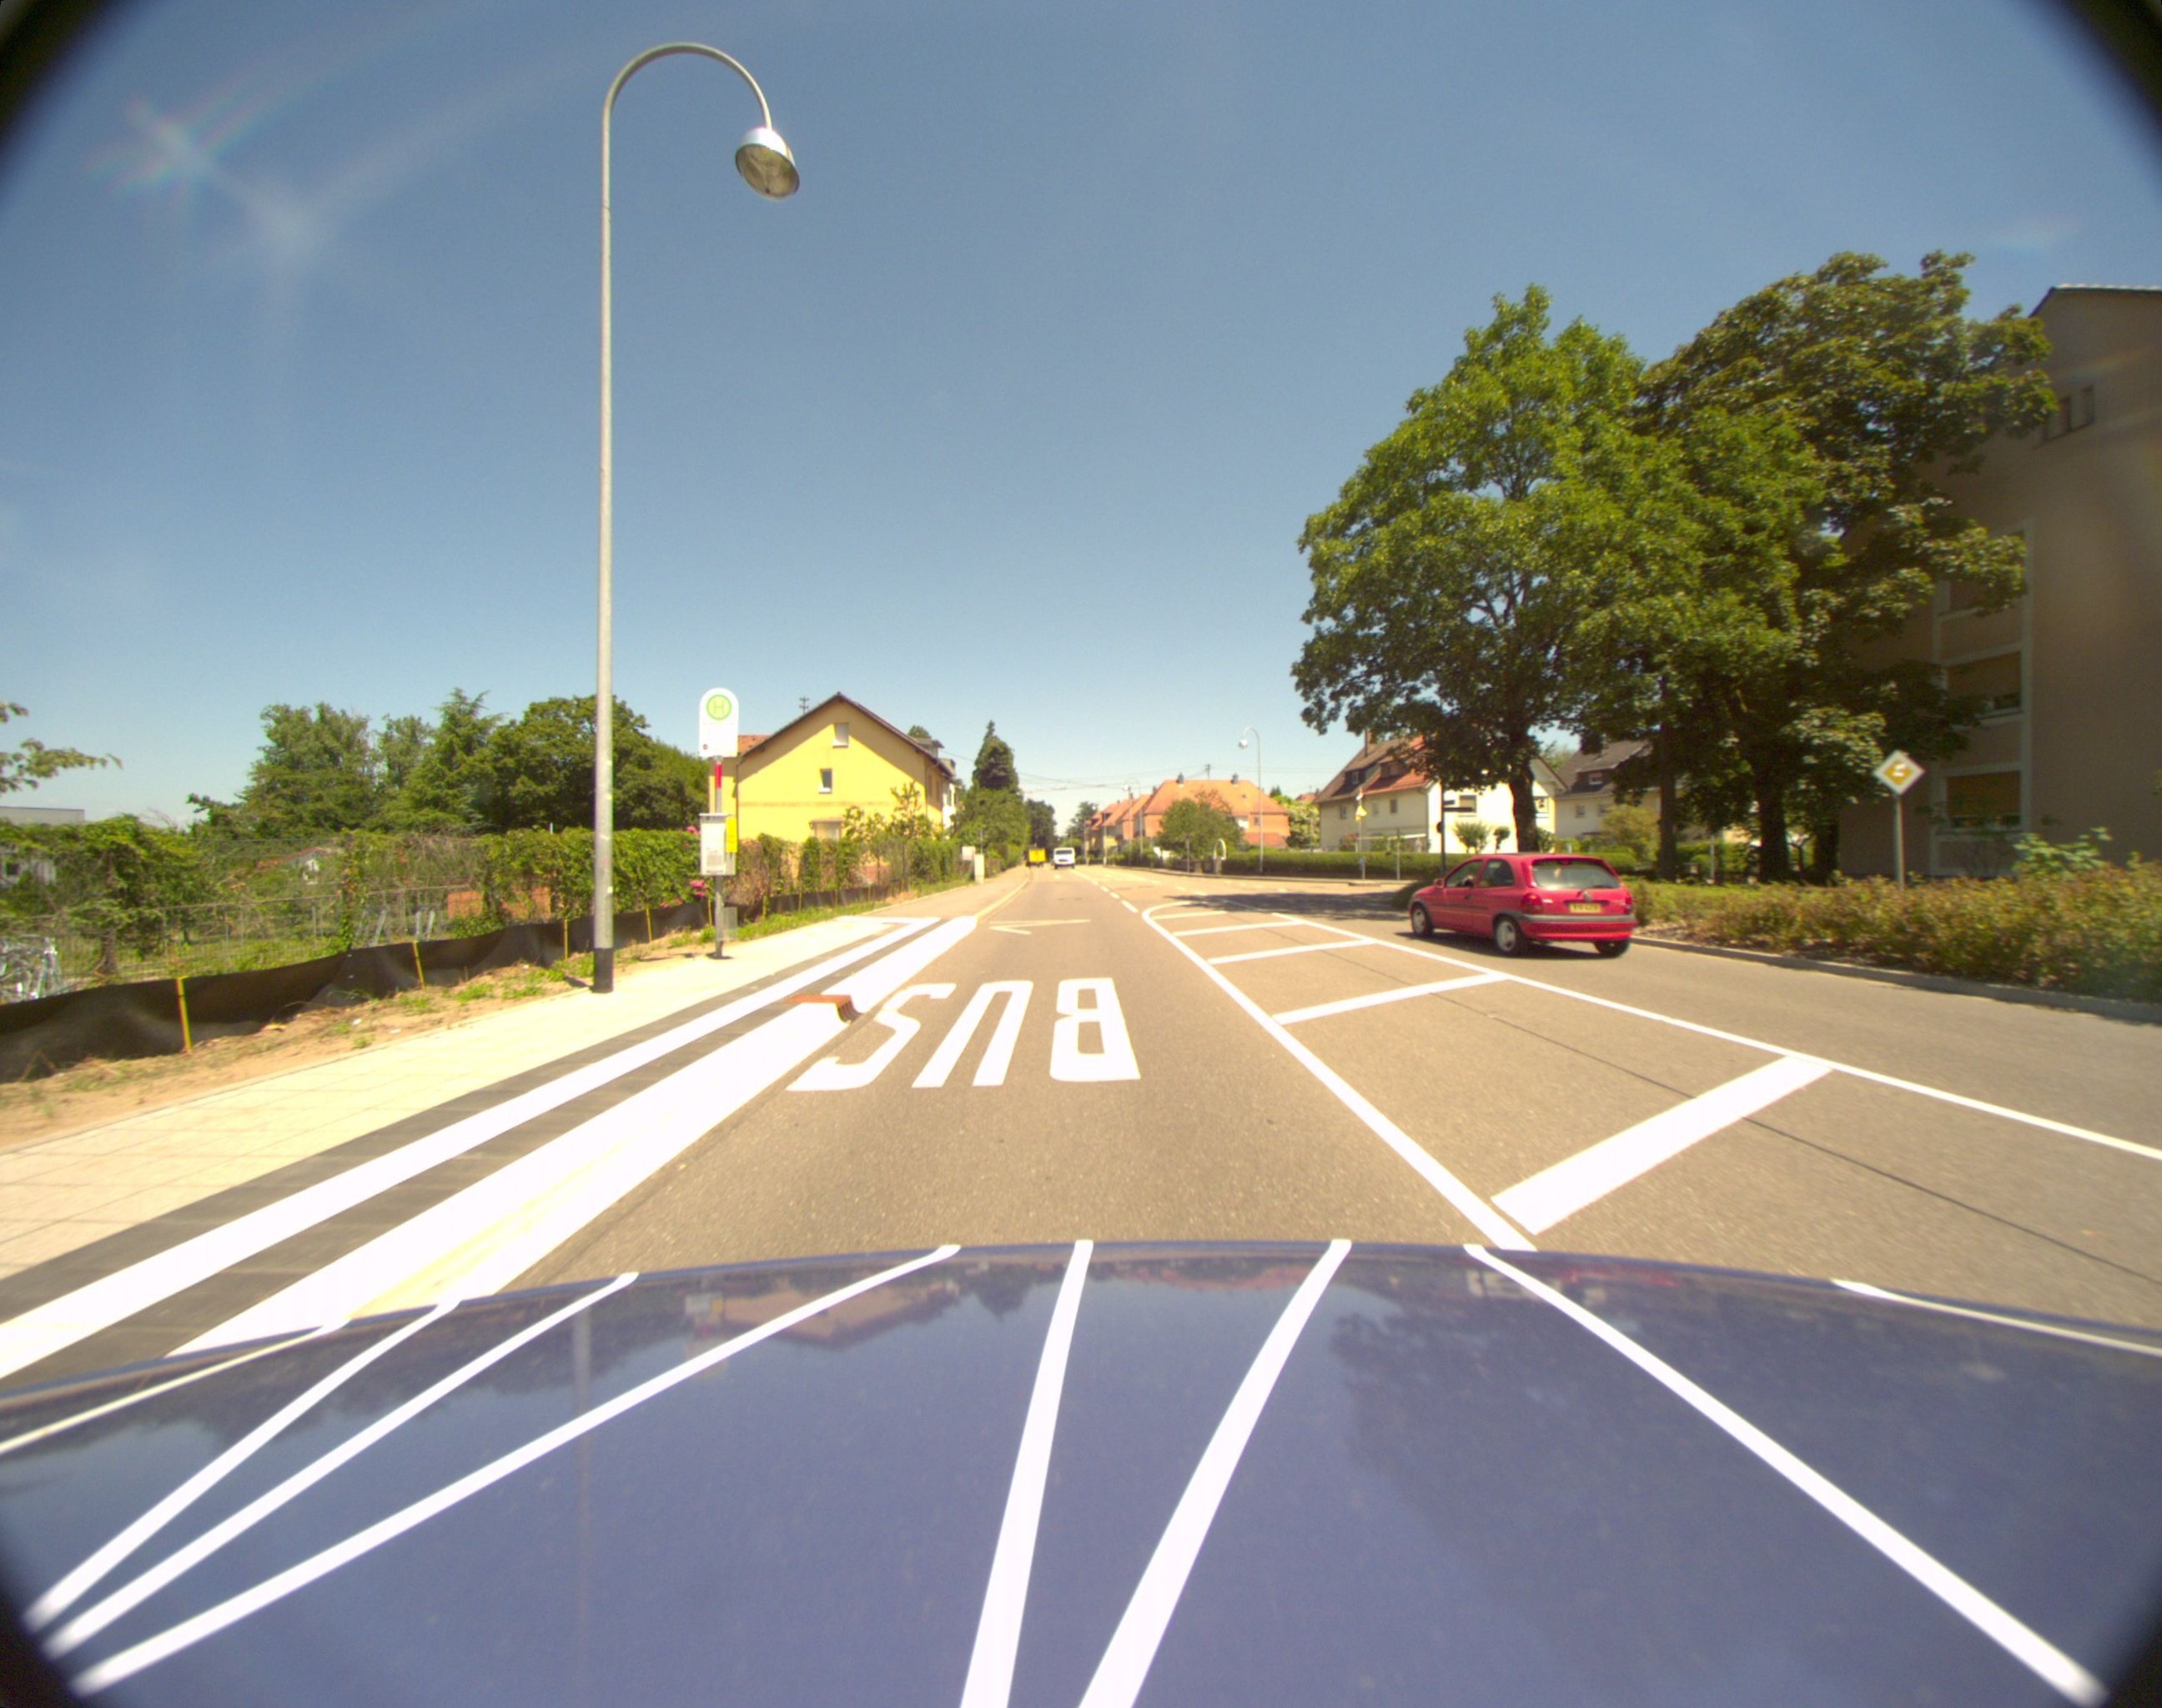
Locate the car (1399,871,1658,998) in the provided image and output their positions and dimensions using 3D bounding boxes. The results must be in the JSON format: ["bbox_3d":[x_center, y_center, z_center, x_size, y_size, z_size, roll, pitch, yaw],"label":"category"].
[{"bbox_3d":[6.360,1.038,11.328,1.554,1.442,3.689,-2,0,-2],"label":"car"}]

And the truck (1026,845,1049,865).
[{"bbox_3d":[-5.543,0.115,96.034,2.020,2.295,6.172,-4,-1,-10],"label":"truck"}]

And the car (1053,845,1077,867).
[{"bbox_3d":[-1.547,0.237,71.960,1.999,2.001,4.386,-2,-1,-4],"label":"car"}]
